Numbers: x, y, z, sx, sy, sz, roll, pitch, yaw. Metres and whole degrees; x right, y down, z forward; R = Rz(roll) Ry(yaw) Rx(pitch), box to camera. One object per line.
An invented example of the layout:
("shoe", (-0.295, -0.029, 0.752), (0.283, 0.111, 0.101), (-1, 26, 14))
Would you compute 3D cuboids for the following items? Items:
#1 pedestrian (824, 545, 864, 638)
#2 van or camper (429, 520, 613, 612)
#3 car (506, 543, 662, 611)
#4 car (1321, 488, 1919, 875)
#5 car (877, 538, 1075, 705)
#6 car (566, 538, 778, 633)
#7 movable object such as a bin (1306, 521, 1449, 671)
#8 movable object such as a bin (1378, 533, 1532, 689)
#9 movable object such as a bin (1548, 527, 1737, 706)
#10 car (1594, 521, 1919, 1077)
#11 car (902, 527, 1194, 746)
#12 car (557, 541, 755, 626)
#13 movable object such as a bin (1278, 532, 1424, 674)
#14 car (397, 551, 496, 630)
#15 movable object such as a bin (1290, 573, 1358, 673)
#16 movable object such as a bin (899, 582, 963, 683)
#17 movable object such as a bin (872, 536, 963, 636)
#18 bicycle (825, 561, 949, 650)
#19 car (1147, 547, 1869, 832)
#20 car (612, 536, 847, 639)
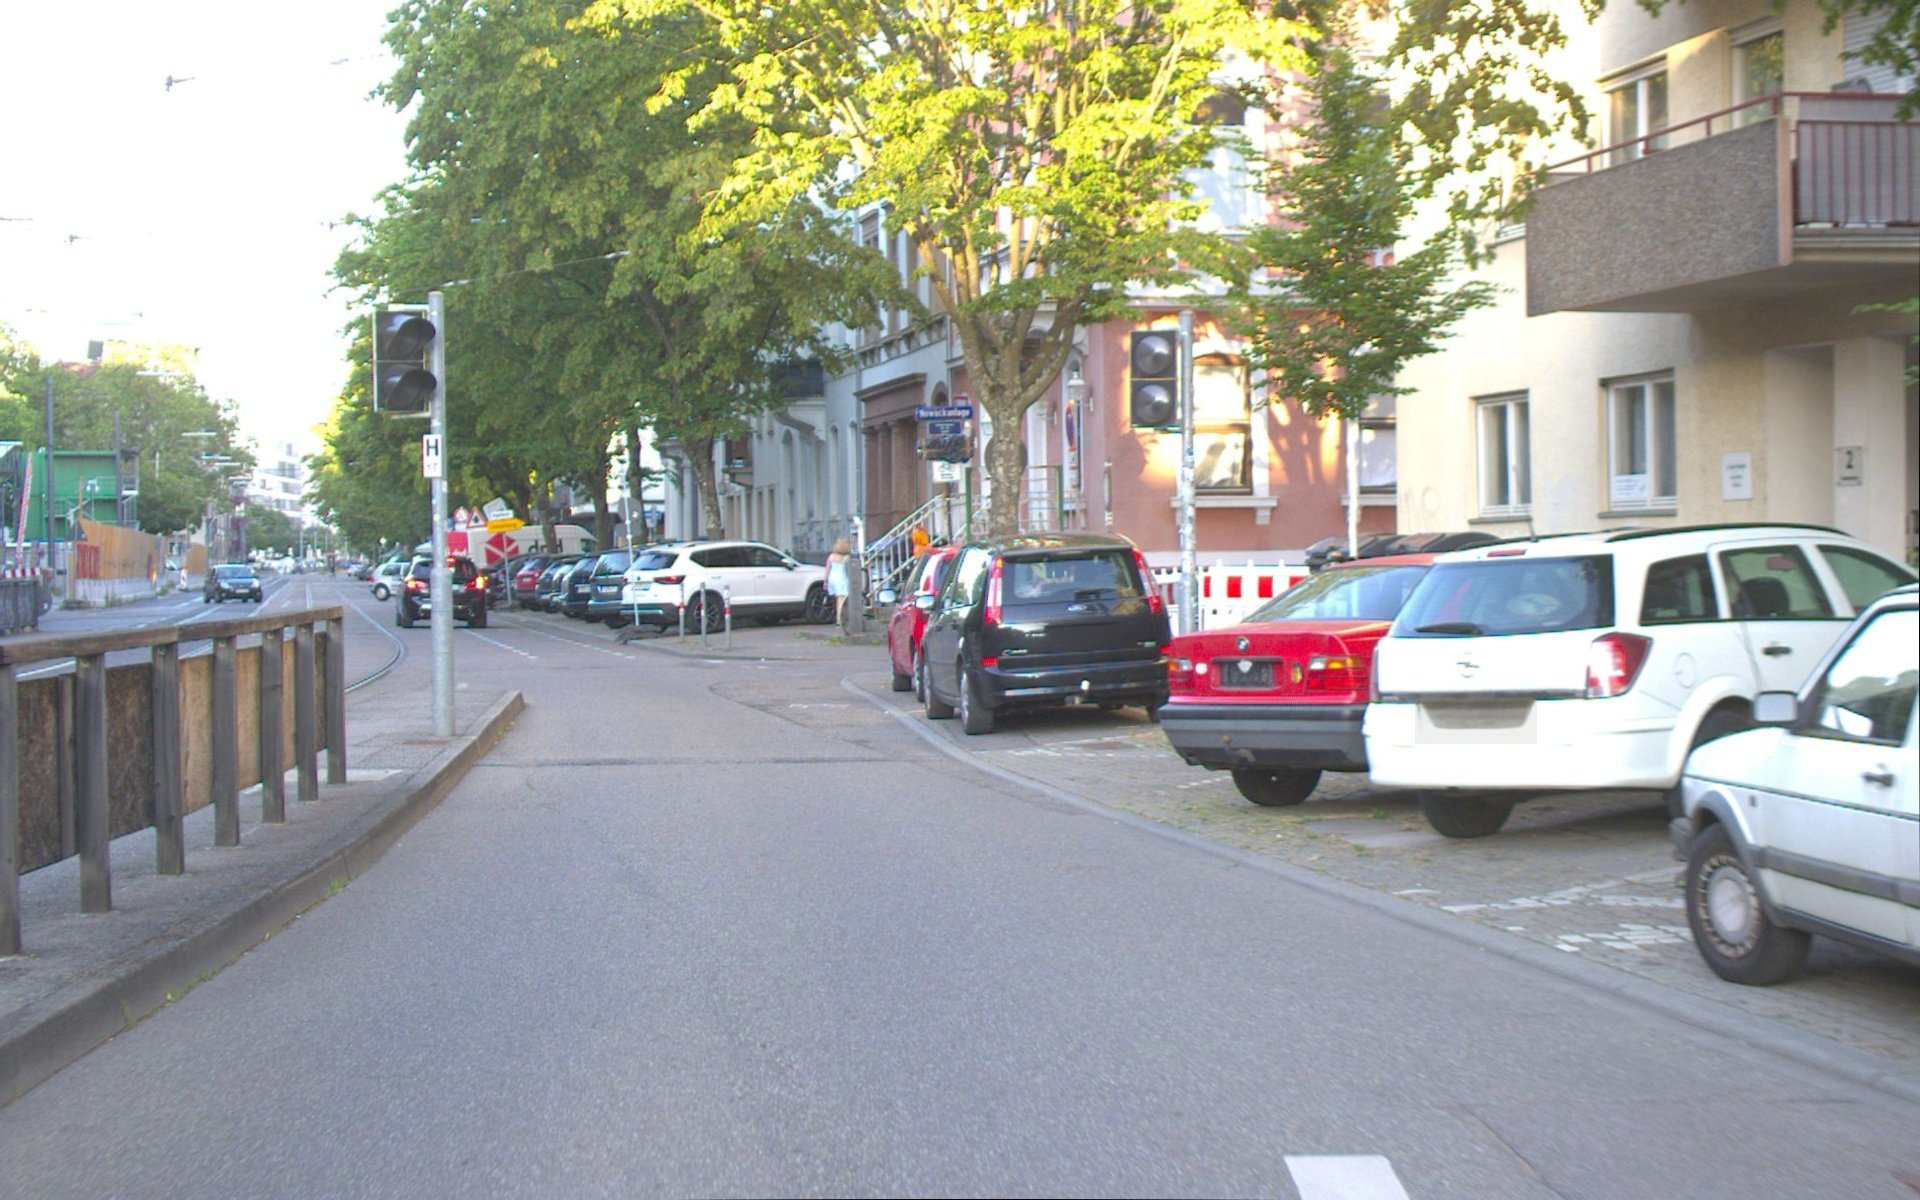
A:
("pedestrian", (-2.007, -0.149, 59.584), (0.586, 1.604, 0.625), (-1, 1, -10))
("van or camper", (-13.942, -1.096, 109.432), (2.085, 2.522, 5.536), (-3, 2, 45))
("car", (-10.691, -0.659, 97.868), (3.943, 1.598, 1.840), (-6, 2, -37))
("car", (3.865, 0.326, 17.300), (4.198, 1.719, 1.721), (-1, 1, -43))
("car", (0.111, 0.186, 35.008), (1.564, 1.531, 3.694), (-3, 1, -6))
("car", (-5.800, -0.309, 69.552), (1.900, 1.663, 3.945), (-3, 1, 43))
("movable object such as a bin", (4.266, -0.053, 35.220), (1.072, 1.497, 1.319), (-1, 1, -13))
("movable object such as a bin", (4.879, 0.096, 33.936), (1.140, 1.497, 1.271), (-1, 1, -11))
("movable object such as a bin", (5.854, 0.128, 29.572), (1.113, 1.497, 1.482), (-1, 1, -11))
("car", (3.441, 0.530, 10.653), (1.680, 1.547, 4.001), (-4, 1, -7))
("car", (0.663, 0.263, 28.959), (1.743, 1.626, 4.089), (-3, 1, -8))
("car", (-6.672, -0.375, 75.753), (3.944, 1.598, 1.839), (-5, 1, -42))
("movable object such as a bin", (4.246, 0.022, 37.470), (1.140, 1.497, 1.598), (-1, 1, -11))
("car", (-11.139, -0.217, 74.426), (1.881, 1.614, 4.001), (2, 0, -11))
("movable object such as a bin", (3.833, 0.239, 36.220), (0.553, 1.044, 0.571), (-1, 1, -12))
("movable object such as a bin", (-0.336, 0.375, 39.730), (0.712, 1.149, 0.588), (0, 1, 2))
("movable object such as a bin", (-0.659, -0.220, 52.267), (1.140, 1.497, 1.399), (-1, 1, -11))
("bicycle", (-1.070, 0.074, 50.515), (0.601, 1.262, 1.913), (-1, 1, 45))
("car", (3.199, 0.437, 19.646), (4.197, 1.449, 1.645), (-1, 1, -38))
("car", (-4.118, -0.238, 61.881), (3.944, 1.621, 1.673), (-4, 3, -41))
